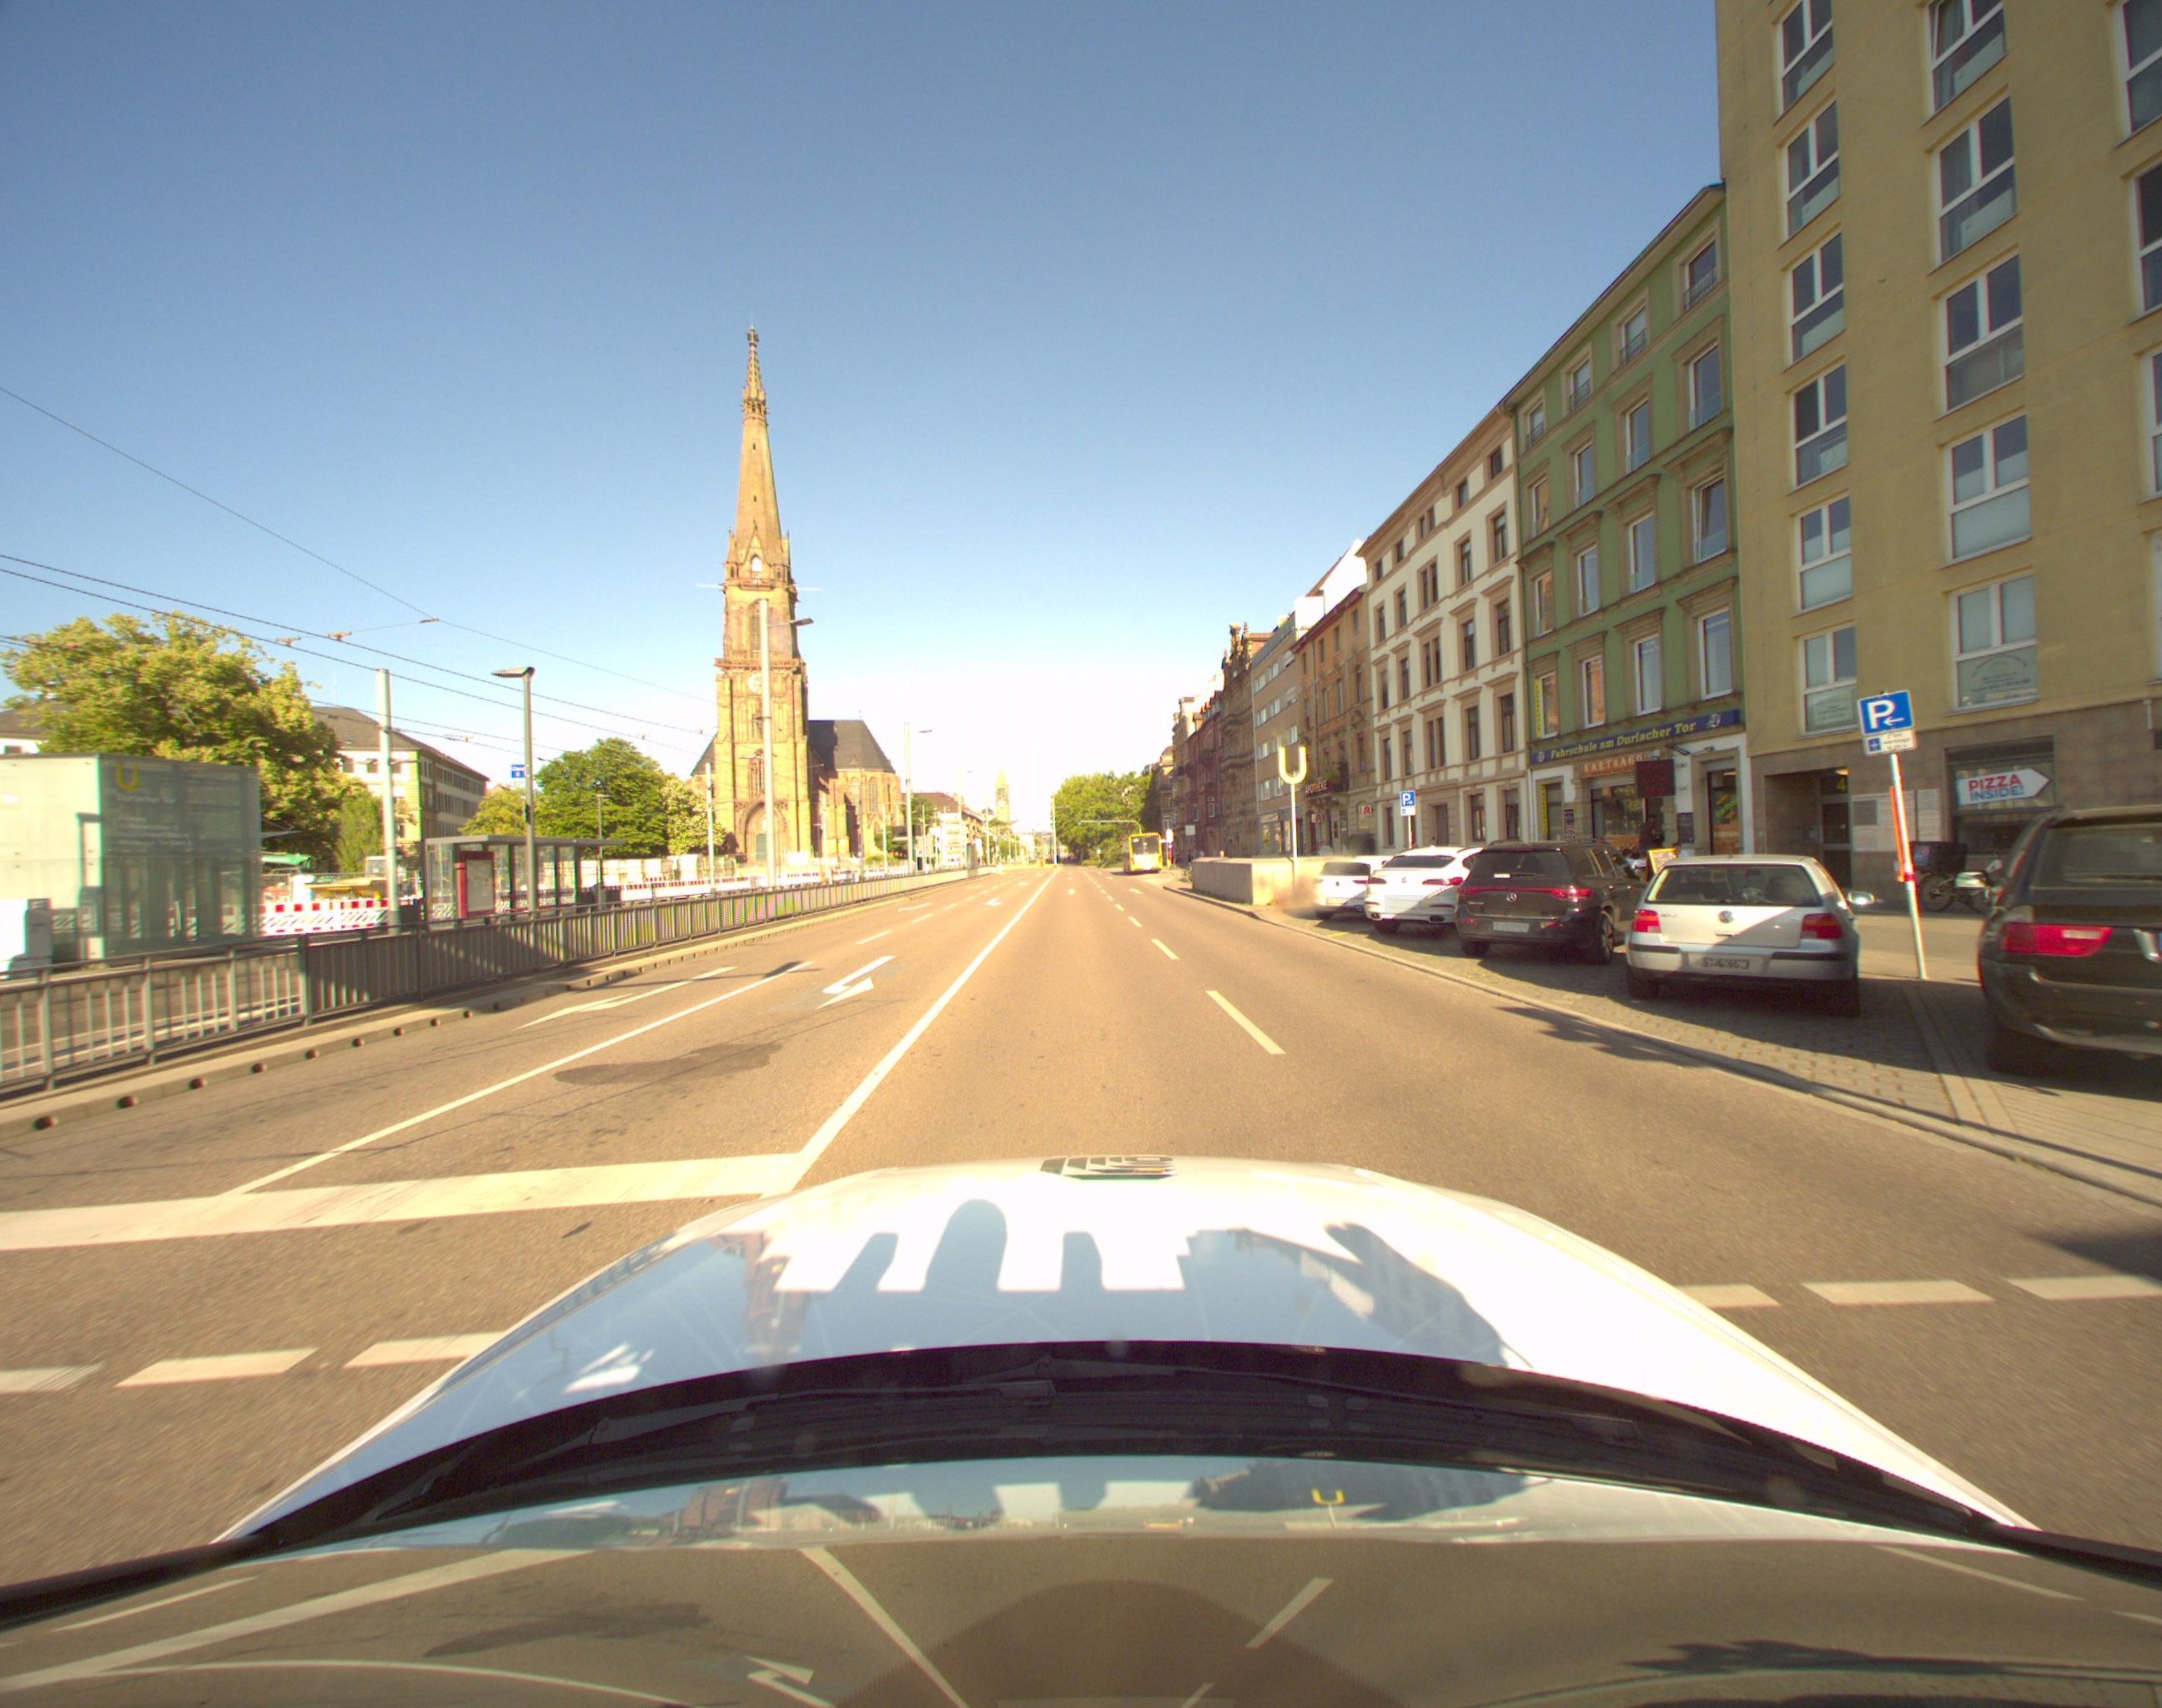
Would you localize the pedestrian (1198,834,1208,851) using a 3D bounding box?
[{"bbox_3d":[13.919,-1.277,92.918,0.820,1.930,1.136,-3,0,-1],"label":"pedestrian"}]

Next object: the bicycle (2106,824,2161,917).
[{"bbox_3d":[15.303,0.214,10.201,0.982,1.264,3.059,-2,0,-2],"label":"bicycle"}]

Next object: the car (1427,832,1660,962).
[{"bbox_3d":[7.074,0.507,12.243,4.276,1.597,1.936,-1,0,-45],"label":"car"}]

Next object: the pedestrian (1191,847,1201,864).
[{"bbox_3d":[13.090,0.197,92.866,0.820,1.930,1.136,-3,0,-1],"label":"pedestrian"}]

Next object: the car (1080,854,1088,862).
[{"bbox_3d":[0.658,0.818,176.479,1.638,1.511,4.181,-3,0,0],"label":"car"}]

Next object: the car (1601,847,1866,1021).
[{"bbox_3d":[7.009,0.655,8.594,1.766,1.399,3.915,-1,-1,45],"label":"car"}]

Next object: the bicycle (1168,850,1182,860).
[{"bbox_3d":[12.894,0.146,111.640,1.886,1.239,0.488,-4,-1,-14],"label":"bicycle"}]

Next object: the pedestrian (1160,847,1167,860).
[{"bbox_3d":[10.757,-0.024,106.594,0.701,1.656,1.136,-3,0,-1],"label":"pedestrian"}]

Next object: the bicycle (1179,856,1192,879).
[{"bbox_3d":[5.653,0.716,44.073,0.467,1.147,1.770,-2,1,-1],"label":"bicycle"}]

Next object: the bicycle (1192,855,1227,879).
[{"bbox_3d":[6.786,0.680,43.153,1.760,1.187,0.470,-2,1,-2],"label":"bicycle"}]

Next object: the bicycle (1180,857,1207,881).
[{"bbox_3d":[5.714,0.750,41.370,0.471,1.147,1.756,-2,1,-24],"label":"bicycle"}]

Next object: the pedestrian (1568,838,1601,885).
[{"bbox_3d":[14.607,0.207,23.621,0.515,1.319,0.590,-2,0,-8],"label":"pedestrian"}]

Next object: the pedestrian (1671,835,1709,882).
[{"bbox_3d":[15.587,0.114,20.858,0.512,1.160,0.593,-2,0,6],"label":"pedestrian"}]

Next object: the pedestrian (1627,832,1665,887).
[{"bbox_3d":[14.015,0.135,20.218,0.512,1.319,0.593,-2,0,6],"label":"pedestrian"}]

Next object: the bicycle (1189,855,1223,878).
[{"bbox_3d":[6.772,0.682,44.179,1.760,1.187,0.470,-2,1,-2],"label":"bicycle"}]

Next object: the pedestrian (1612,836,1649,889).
[{"bbox_3d":[14.117,0.216,20.926,0.512,1.319,0.593,-2,0,6],"label":"pedestrian"}]

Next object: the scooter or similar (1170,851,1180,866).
[{"bbox_3d":[8.595,0.423,74.633,0.431,1.249,1.290,-4,-1,-10],"label":"scooter or similar"}]

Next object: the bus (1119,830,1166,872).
[{"bbox_3d":[5.144,-0.243,70.591,2.707,3.181,12.535,-3,0,-1],"label":"bus"}]

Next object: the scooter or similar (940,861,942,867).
[{"bbox_3d":[-33.297,2.418,193.660,0.400,1.261,1.230,-3,3,0],"label":"scooter or similar"}]

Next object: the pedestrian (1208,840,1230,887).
[{"bbox_3d":[6.149,0.420,36.263,0.748,2.013,0.698,-3,3,-1],"label":"pedestrian"}]

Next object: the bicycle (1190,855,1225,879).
[{"bbox_3d":[6.785,0.689,43.660,1.760,1.187,0.470,-2,1,-2],"label":"bicycle"}]

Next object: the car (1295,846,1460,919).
[{"bbox_3d":[7.090,0.616,19.289,4.136,1.464,1.938,-2,0,-43],"label":"car"}]

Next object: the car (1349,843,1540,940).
[{"bbox_3d":[7.070,0.610,15.625,1.936,1.570,4.276,-1,0,45],"label":"car"}]

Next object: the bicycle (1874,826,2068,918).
[{"bbox_3d":[15.028,0.248,13.874,0.926,1.356,2.231,-3,3,3],"label":"bicycle"}]

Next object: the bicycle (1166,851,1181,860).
[{"bbox_3d":[12.779,0.201,112.791,1.886,1.239,0.488,-4,-1,-14],"label":"bicycle"}]

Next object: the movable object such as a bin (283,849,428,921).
[{"bbox_3d":[-30.601,1.202,34.653,2.635,2.525,5.138,-4,3,-19],"label":"movable object such as a bin"}]

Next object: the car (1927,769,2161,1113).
[{"bbox_3d":[7.342,0.423,5.639,4.275,1.814,1.937,-1,0,-43],"label":"car"}]

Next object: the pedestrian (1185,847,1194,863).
[{"bbox_3d":[12.659,0.114,95.070,0.820,1.930,1.136,-3,0,-1],"label":"pedestrian"}]
